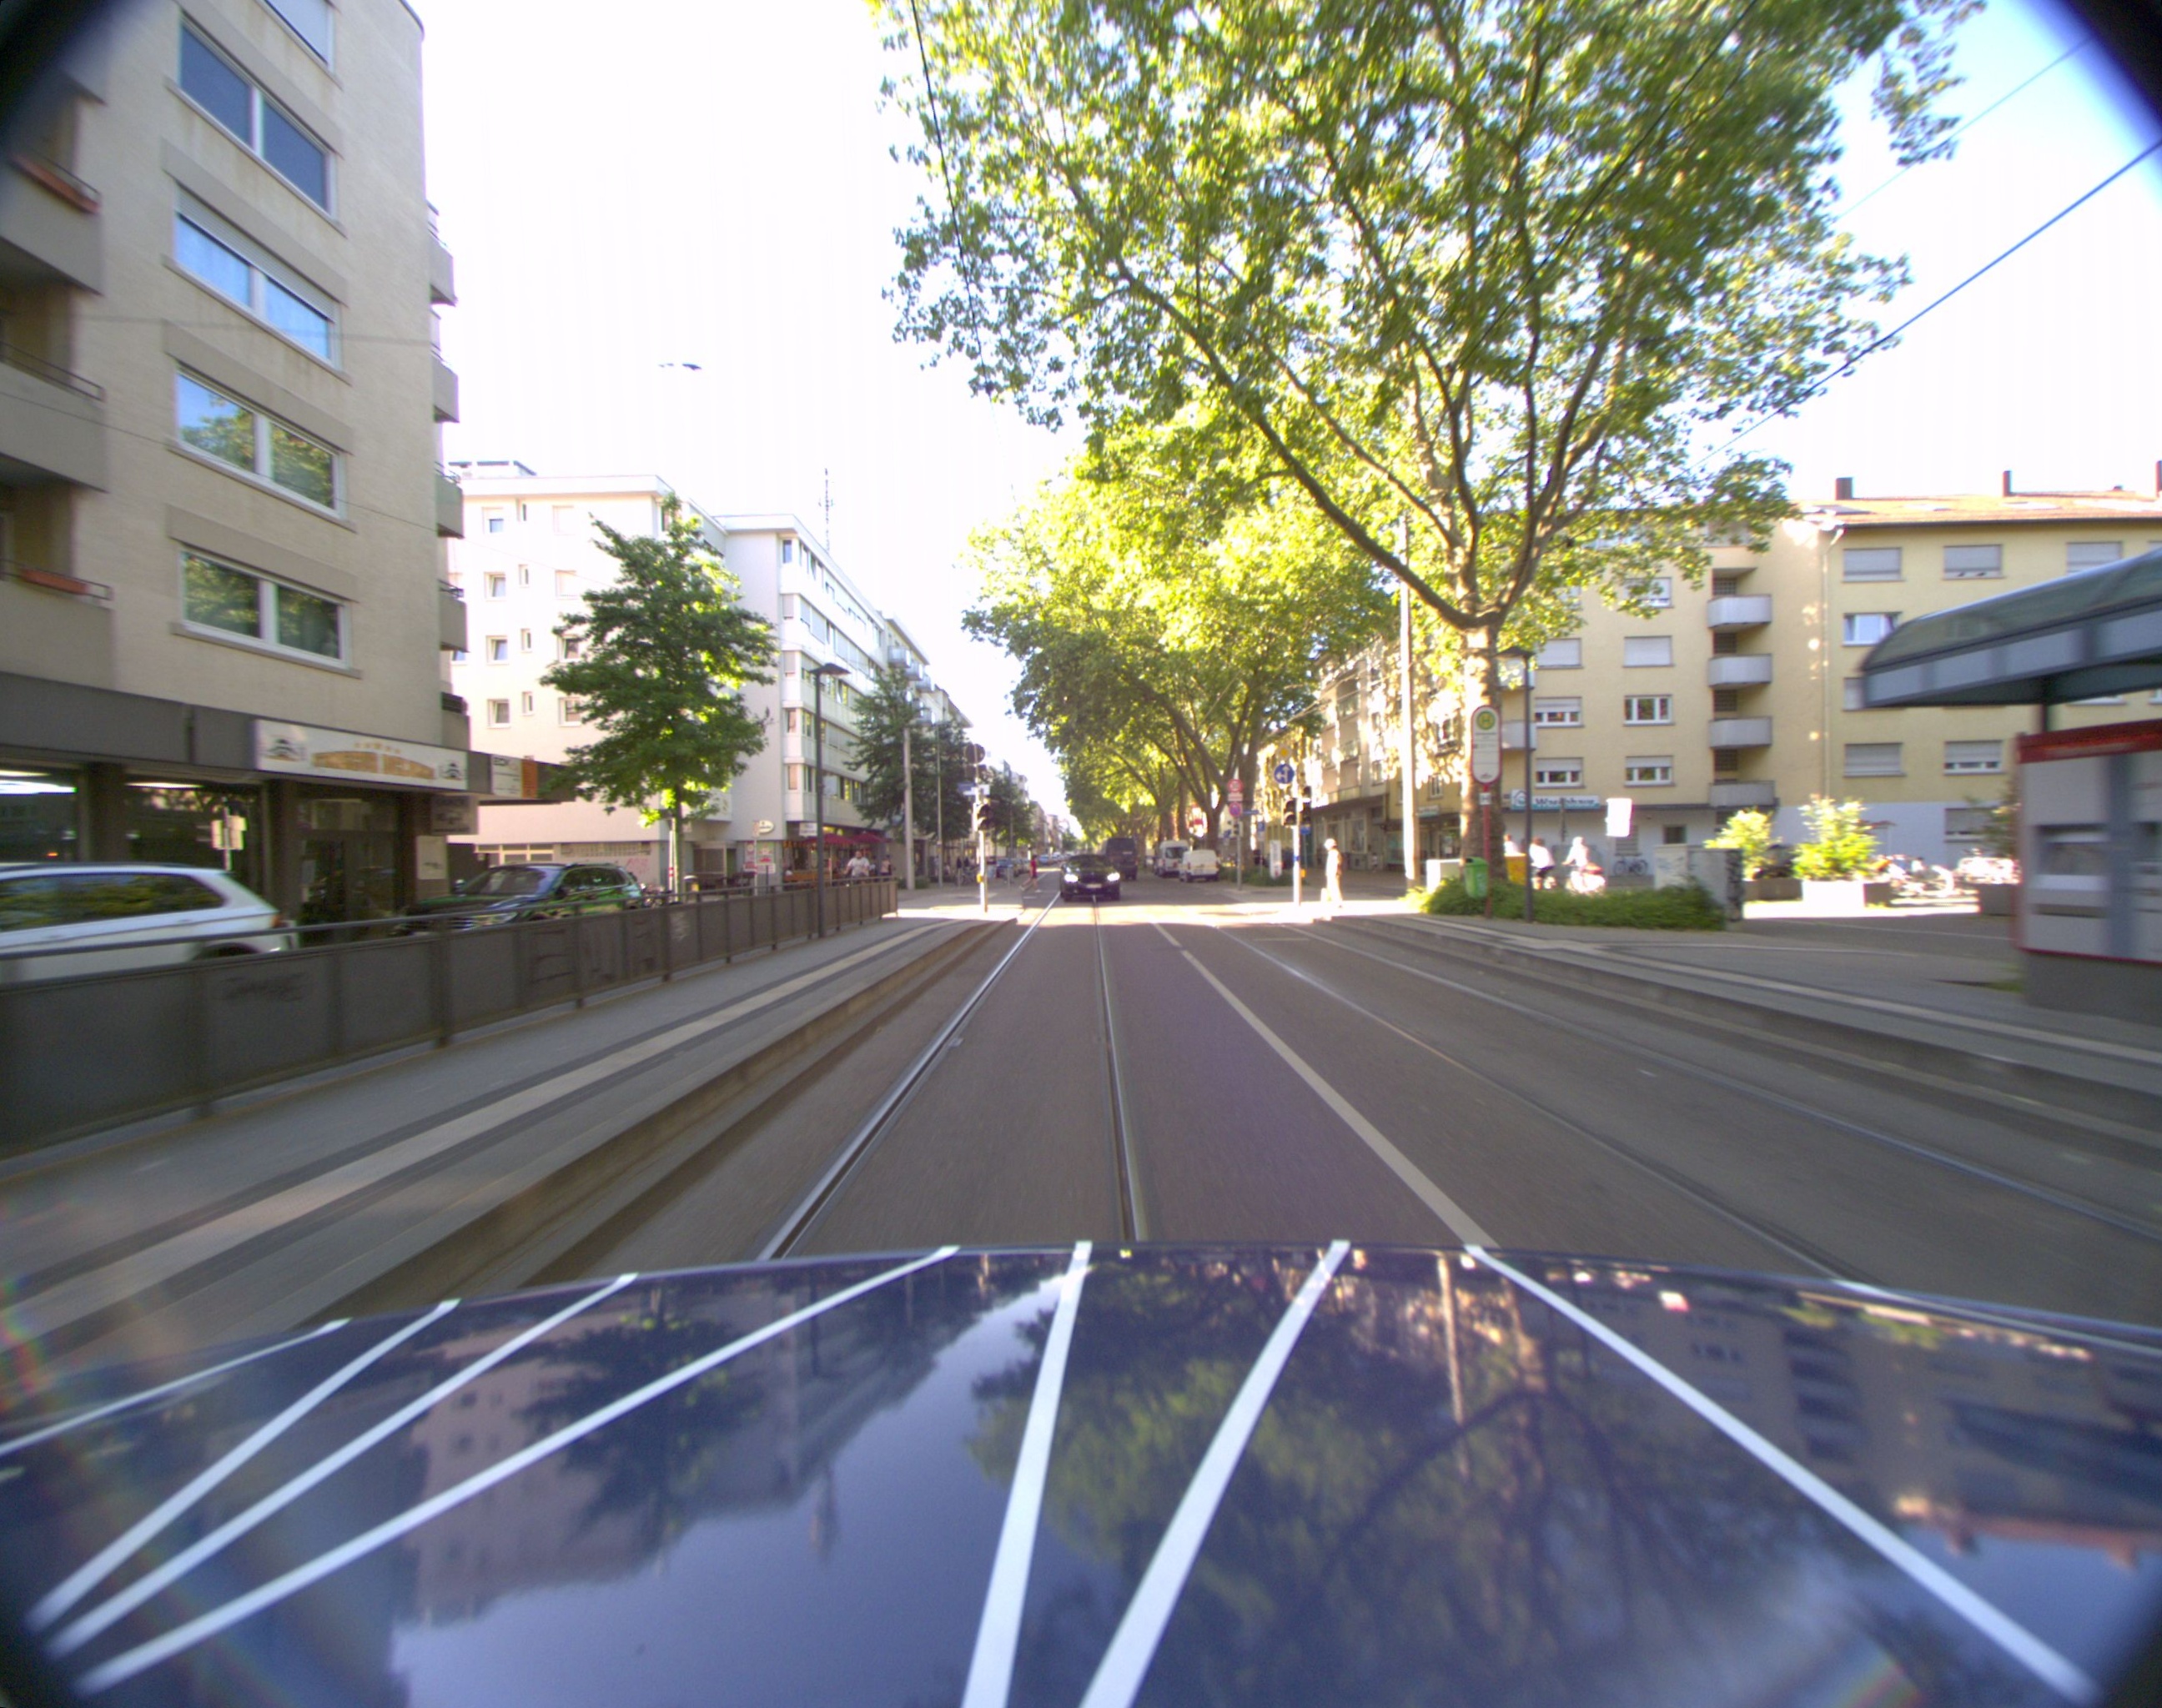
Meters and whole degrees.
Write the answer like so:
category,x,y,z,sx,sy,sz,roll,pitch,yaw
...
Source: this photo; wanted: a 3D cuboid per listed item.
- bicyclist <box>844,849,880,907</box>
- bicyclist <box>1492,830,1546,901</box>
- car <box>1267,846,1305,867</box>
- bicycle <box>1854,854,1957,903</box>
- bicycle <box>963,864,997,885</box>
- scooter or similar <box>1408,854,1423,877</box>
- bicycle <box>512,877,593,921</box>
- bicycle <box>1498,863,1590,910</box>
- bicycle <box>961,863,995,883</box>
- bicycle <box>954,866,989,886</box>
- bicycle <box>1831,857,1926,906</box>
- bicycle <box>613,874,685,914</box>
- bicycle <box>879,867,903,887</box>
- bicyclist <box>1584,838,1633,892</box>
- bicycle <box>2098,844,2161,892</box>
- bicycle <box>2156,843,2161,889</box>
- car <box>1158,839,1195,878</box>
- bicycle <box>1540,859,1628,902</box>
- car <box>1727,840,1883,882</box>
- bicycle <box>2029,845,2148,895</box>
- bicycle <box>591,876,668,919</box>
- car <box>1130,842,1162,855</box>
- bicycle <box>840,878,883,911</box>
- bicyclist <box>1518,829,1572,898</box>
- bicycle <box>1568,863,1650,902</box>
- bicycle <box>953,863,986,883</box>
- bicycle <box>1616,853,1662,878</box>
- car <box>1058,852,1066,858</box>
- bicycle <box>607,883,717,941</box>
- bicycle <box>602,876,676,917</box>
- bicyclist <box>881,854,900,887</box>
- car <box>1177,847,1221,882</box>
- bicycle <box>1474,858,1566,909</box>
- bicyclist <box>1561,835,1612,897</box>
category,x,y,z,sx,sy,sz,roll,pitch,yaw
bicyclist,-7.211,0.774,25.046,0.769,1.821,1.099,-2,1,1
bicyclist,11.325,0.287,19.683,0.784,1.753,0.951,-2,1,-2
car,17.434,0.179,64.791,1.998,1.723,4.897,-2,1,1
bicycle,19.174,0.578,17.716,0.543,1.077,1.639,-2,-2,-1
bicycle,-5.660,1.143,42.508,1.821,1.094,0.497,-2,1,-8
scooter or similar,17.515,0.579,39.815,0.642,1.160,0.676,-2,1,27
bicycle,-15.516,1.313,22.317,1.919,1.201,0.511,-2,1,-3
bicycle,12.221,0.826,20.187,0.784,1.104,2.595,-2,1,-2
bicycle,-5.857,1.070,43.240,1.821,1.094,0.481,-2,1,-8
bicycle,-5.959,1.187,41.516,1.820,0.988,0.481,-2,1,-2
bicycle,18.547,0.633,17.716,0.543,1.077,1.537,-2,-2,-1
bicycle,-13.422,1.241,23.646,1.919,1.200,0.511,-1,0,-3
bicycle,-10.255,1.240,41.024,0.678,0.957,2.022,-2,1,3
bicyclist,15.733,0.315,22.673,0.682,1.539,0.993,-2,1,-8
bicycle,24.629,0.310,17.377,0.543,1.078,1.638,-2,1,-1
bicycle,25.973,0.282,17.336,0.543,1.078,1.638,-2,1,-1
car,6.802,0.266,54.741,2.113,2.562,6.024,-2,1,3
bicycle,14.687,0.741,22.310,0.784,1.104,2.595,-2,1,-2
car,27.244,0.246,28.710,3.997,1.368,2.000,-2,1,0
bicycle,23.193,0.361,17.538,0.543,1.078,1.639,-2,0,-1
bicycle,-13.387,1.277,22.537,1.919,1.200,0.511,-1,0,-3
car,11.157,-0.991,130.036,5.134,1.984,1.999,-2,1,-4
bicycle,-7.205,1.308,24.994,0.790,0.932,1.939,-2,1,1
bicyclist,12.198,0.239,20.008,0.776,1.740,0.997,-2,1,-1
bicycle,15.741,0.829,22.738,0.682,1.064,2.212,-2,1,-9
bicycle,-6.473,1.112,43.997,1.820,1.094,0.525,-1,1,0
bicycle,25.131,0.517,34.226,1.637,1.078,0.543,-2,0,2
car,-5.189,0.381,206.008,1.867,1.499,4.000,-2,1,1
bicycle,-9.350,1.291,16.983,2.130,1.181,0.681,-2,1,9
bicycle,-13.405,1.274,23.072,1.919,1.200,0.511,-1,0,-3
bicyclist,-10.281,0.866,41.039,0.678,1.707,0.965,-2,1,3
car,6.722,0.562,43.708,1.768,1.840,4.317,-2,1,-1
bicycle,11.334,0.729,19.749,0.784,1.184,2.595,-2,1,-2
bicyclist,14.683,0.344,22.082,0.776,1.740,0.997,-2,1,-2
